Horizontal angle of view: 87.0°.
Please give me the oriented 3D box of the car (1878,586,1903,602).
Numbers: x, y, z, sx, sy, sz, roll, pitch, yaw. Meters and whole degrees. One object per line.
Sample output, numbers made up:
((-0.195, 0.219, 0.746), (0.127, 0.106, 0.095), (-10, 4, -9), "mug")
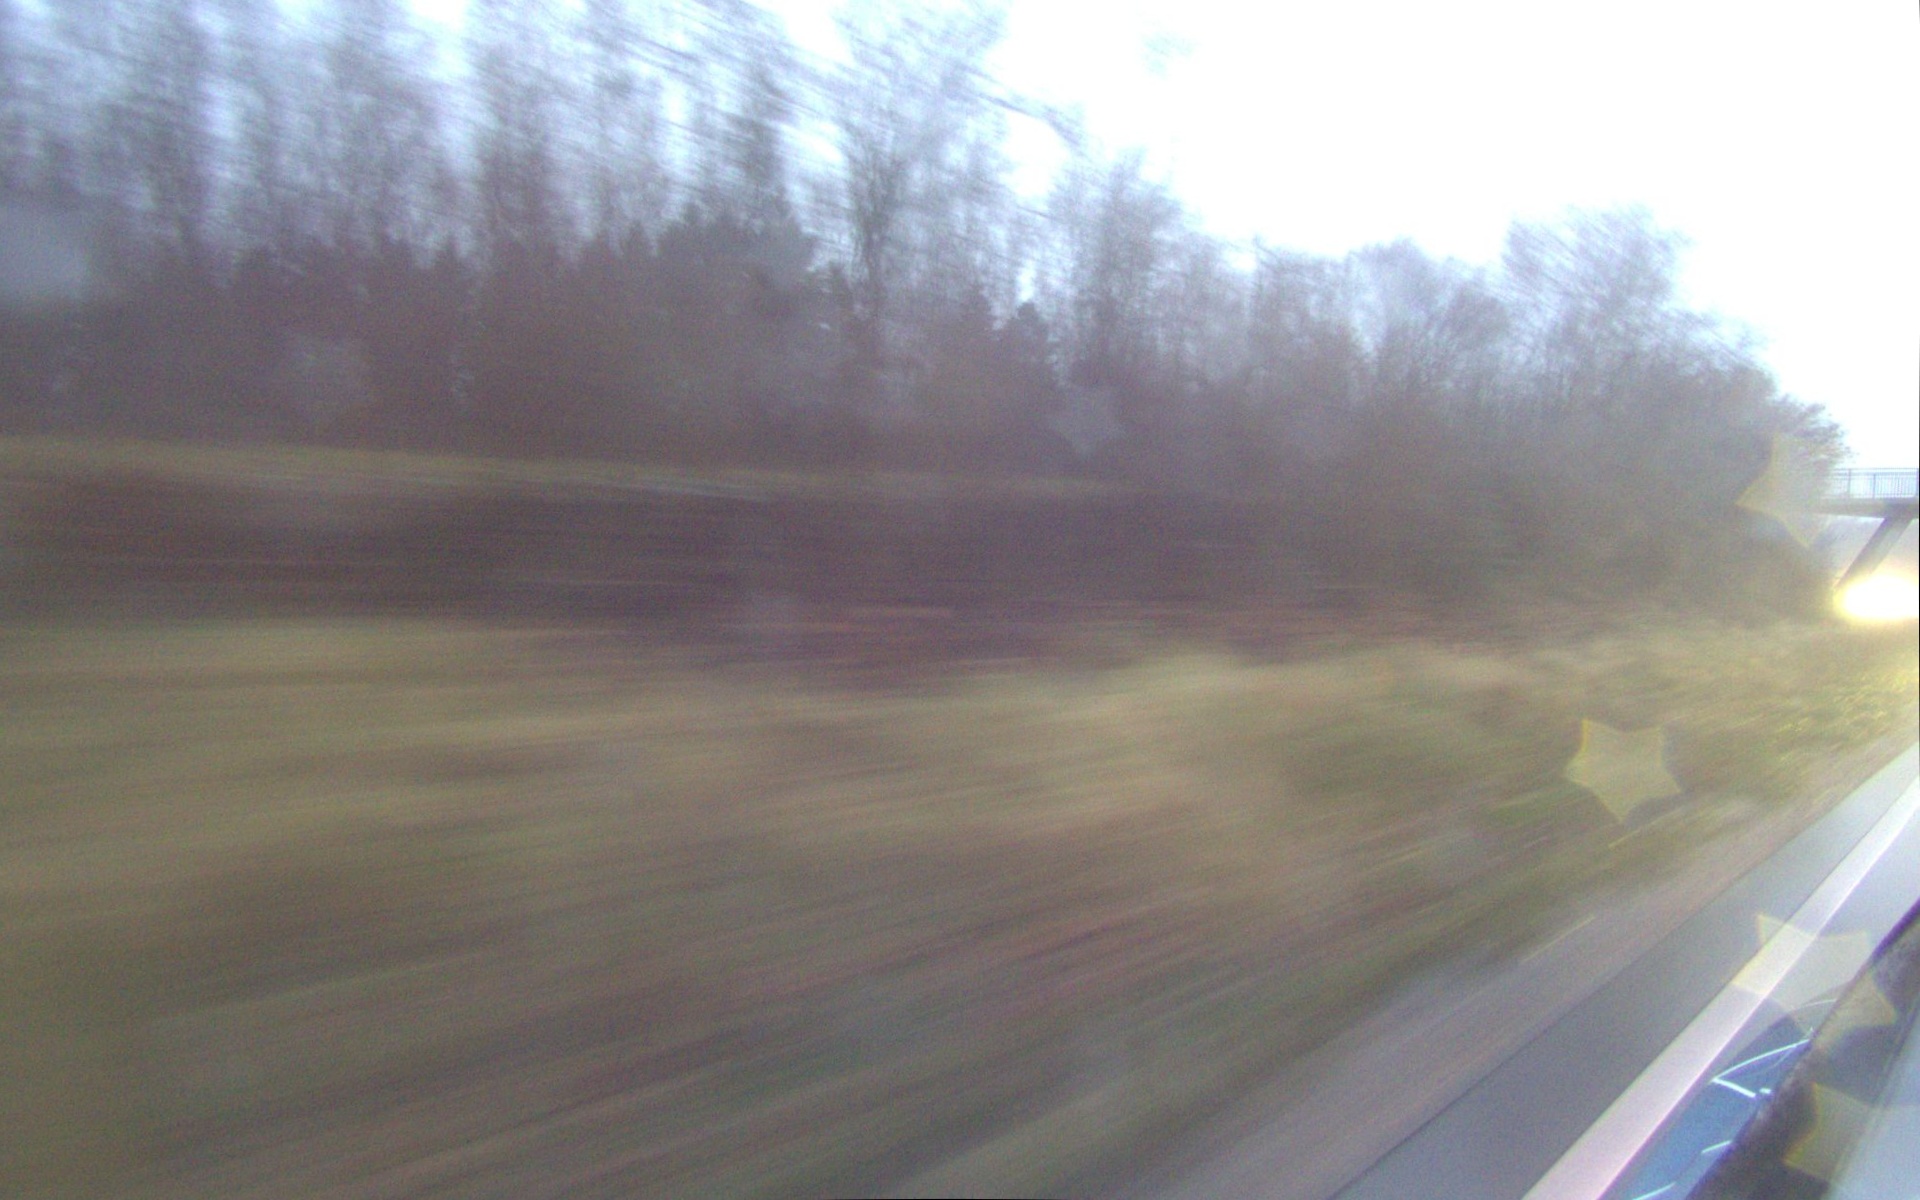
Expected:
((107.279, -0.721, 116.656), (1.709, 1.647, 4.161), (3, 3, 38), "car")

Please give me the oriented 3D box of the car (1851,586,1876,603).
((102.470, -0.662, 114.806), (1.692, 1.752, 3.951), (2, 4, 35), "car")

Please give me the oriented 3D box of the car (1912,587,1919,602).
((114.259, -0.610, 119.773), (1.857, 1.667, 4.406), (3, 4, 39), "car")
